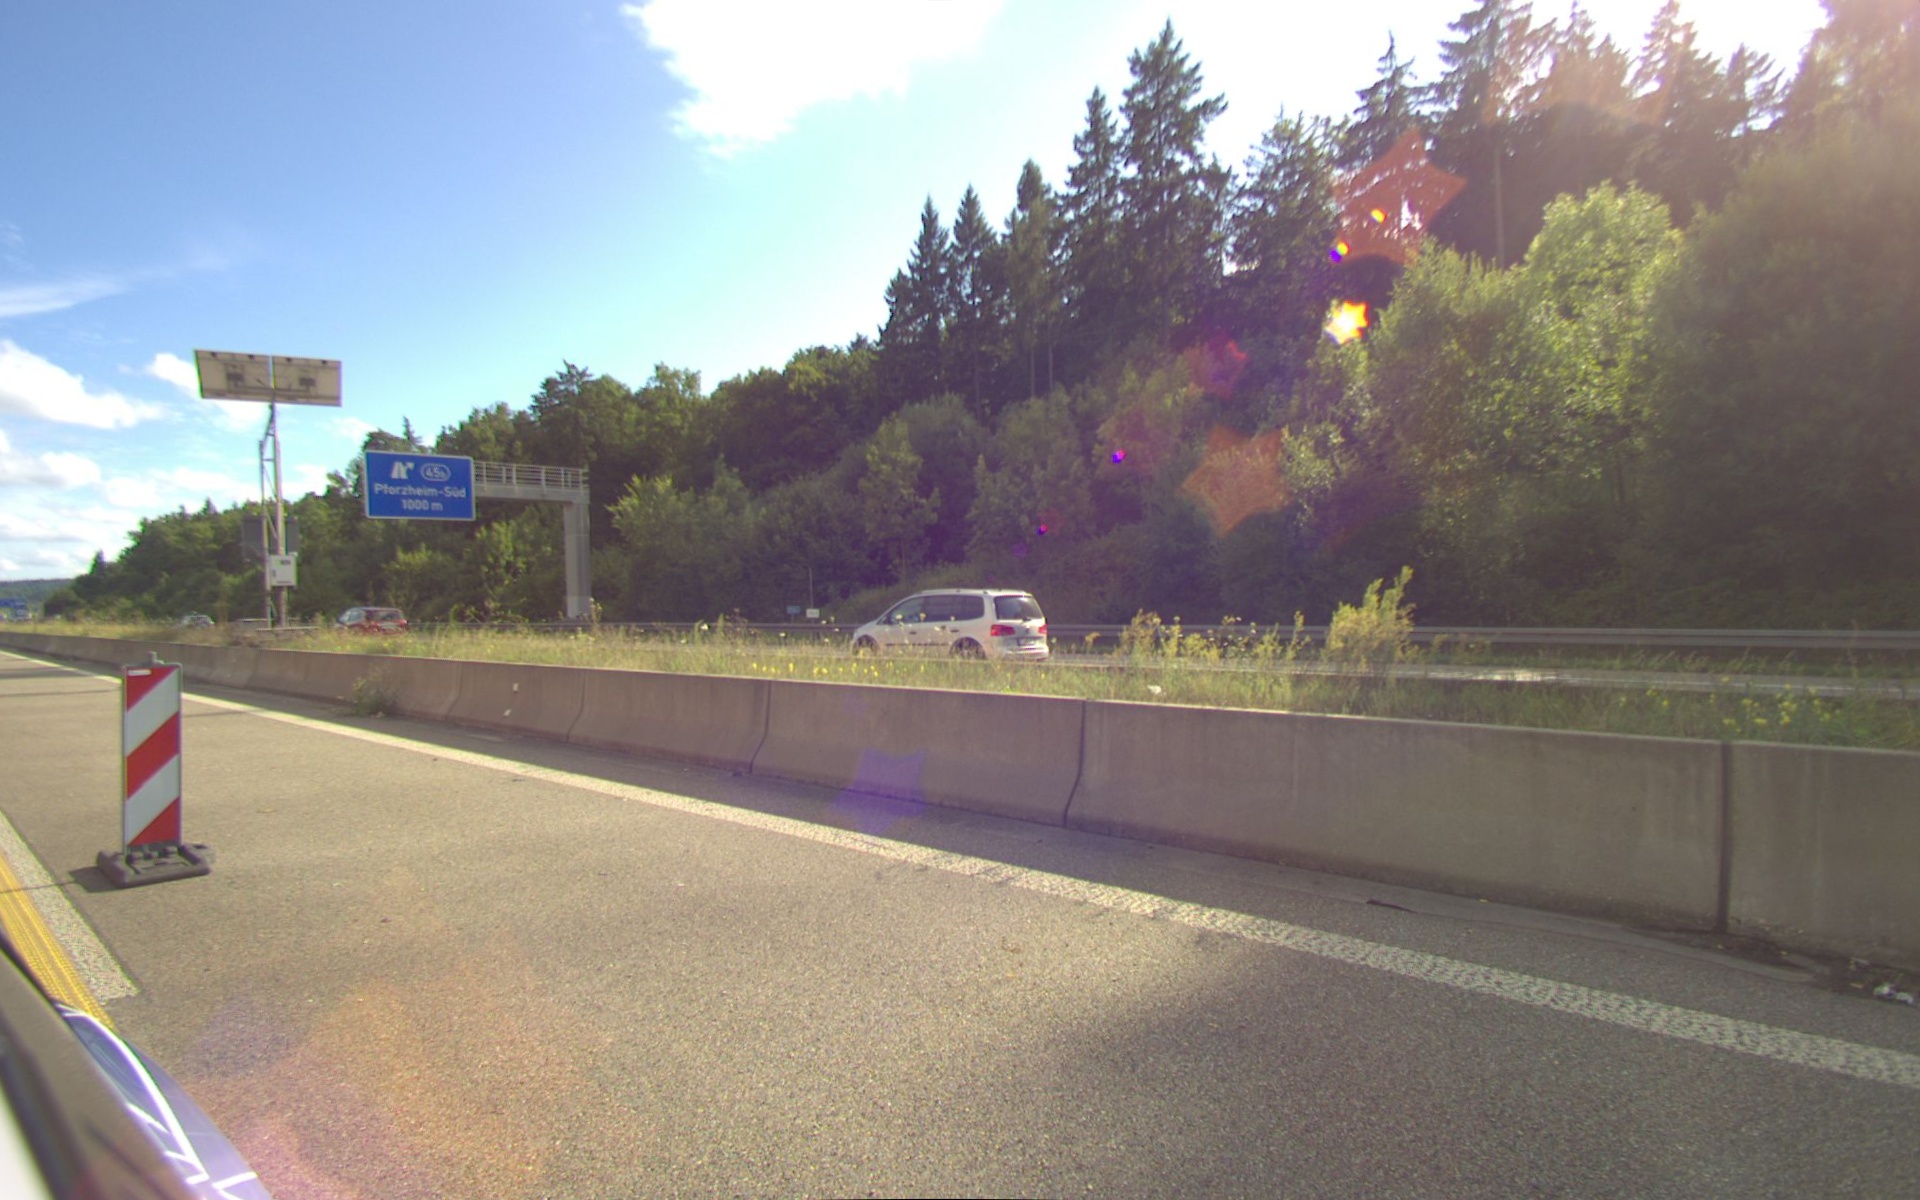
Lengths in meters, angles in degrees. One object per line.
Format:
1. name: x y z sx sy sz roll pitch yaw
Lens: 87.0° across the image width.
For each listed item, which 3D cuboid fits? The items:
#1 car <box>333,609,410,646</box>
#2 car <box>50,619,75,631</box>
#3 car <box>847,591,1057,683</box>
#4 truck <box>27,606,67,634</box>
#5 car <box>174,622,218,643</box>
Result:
1. car: -24.065 1.103 41.329 3.912 1.398 1.642 -1 0 43
2. car: -117.110 3.237 132.037 3.910 1.475 1.919 -1 0 41
3. car: -0.221 0.647 19.393 3.910 1.593 1.643 -1 0 41
4. truck: -152.893 3.299 169.379 13.052 4.409 3.793 -1 0 43
5. car: -58.330 2.488 77.214 3.910 1.475 1.919 -1 0 41
